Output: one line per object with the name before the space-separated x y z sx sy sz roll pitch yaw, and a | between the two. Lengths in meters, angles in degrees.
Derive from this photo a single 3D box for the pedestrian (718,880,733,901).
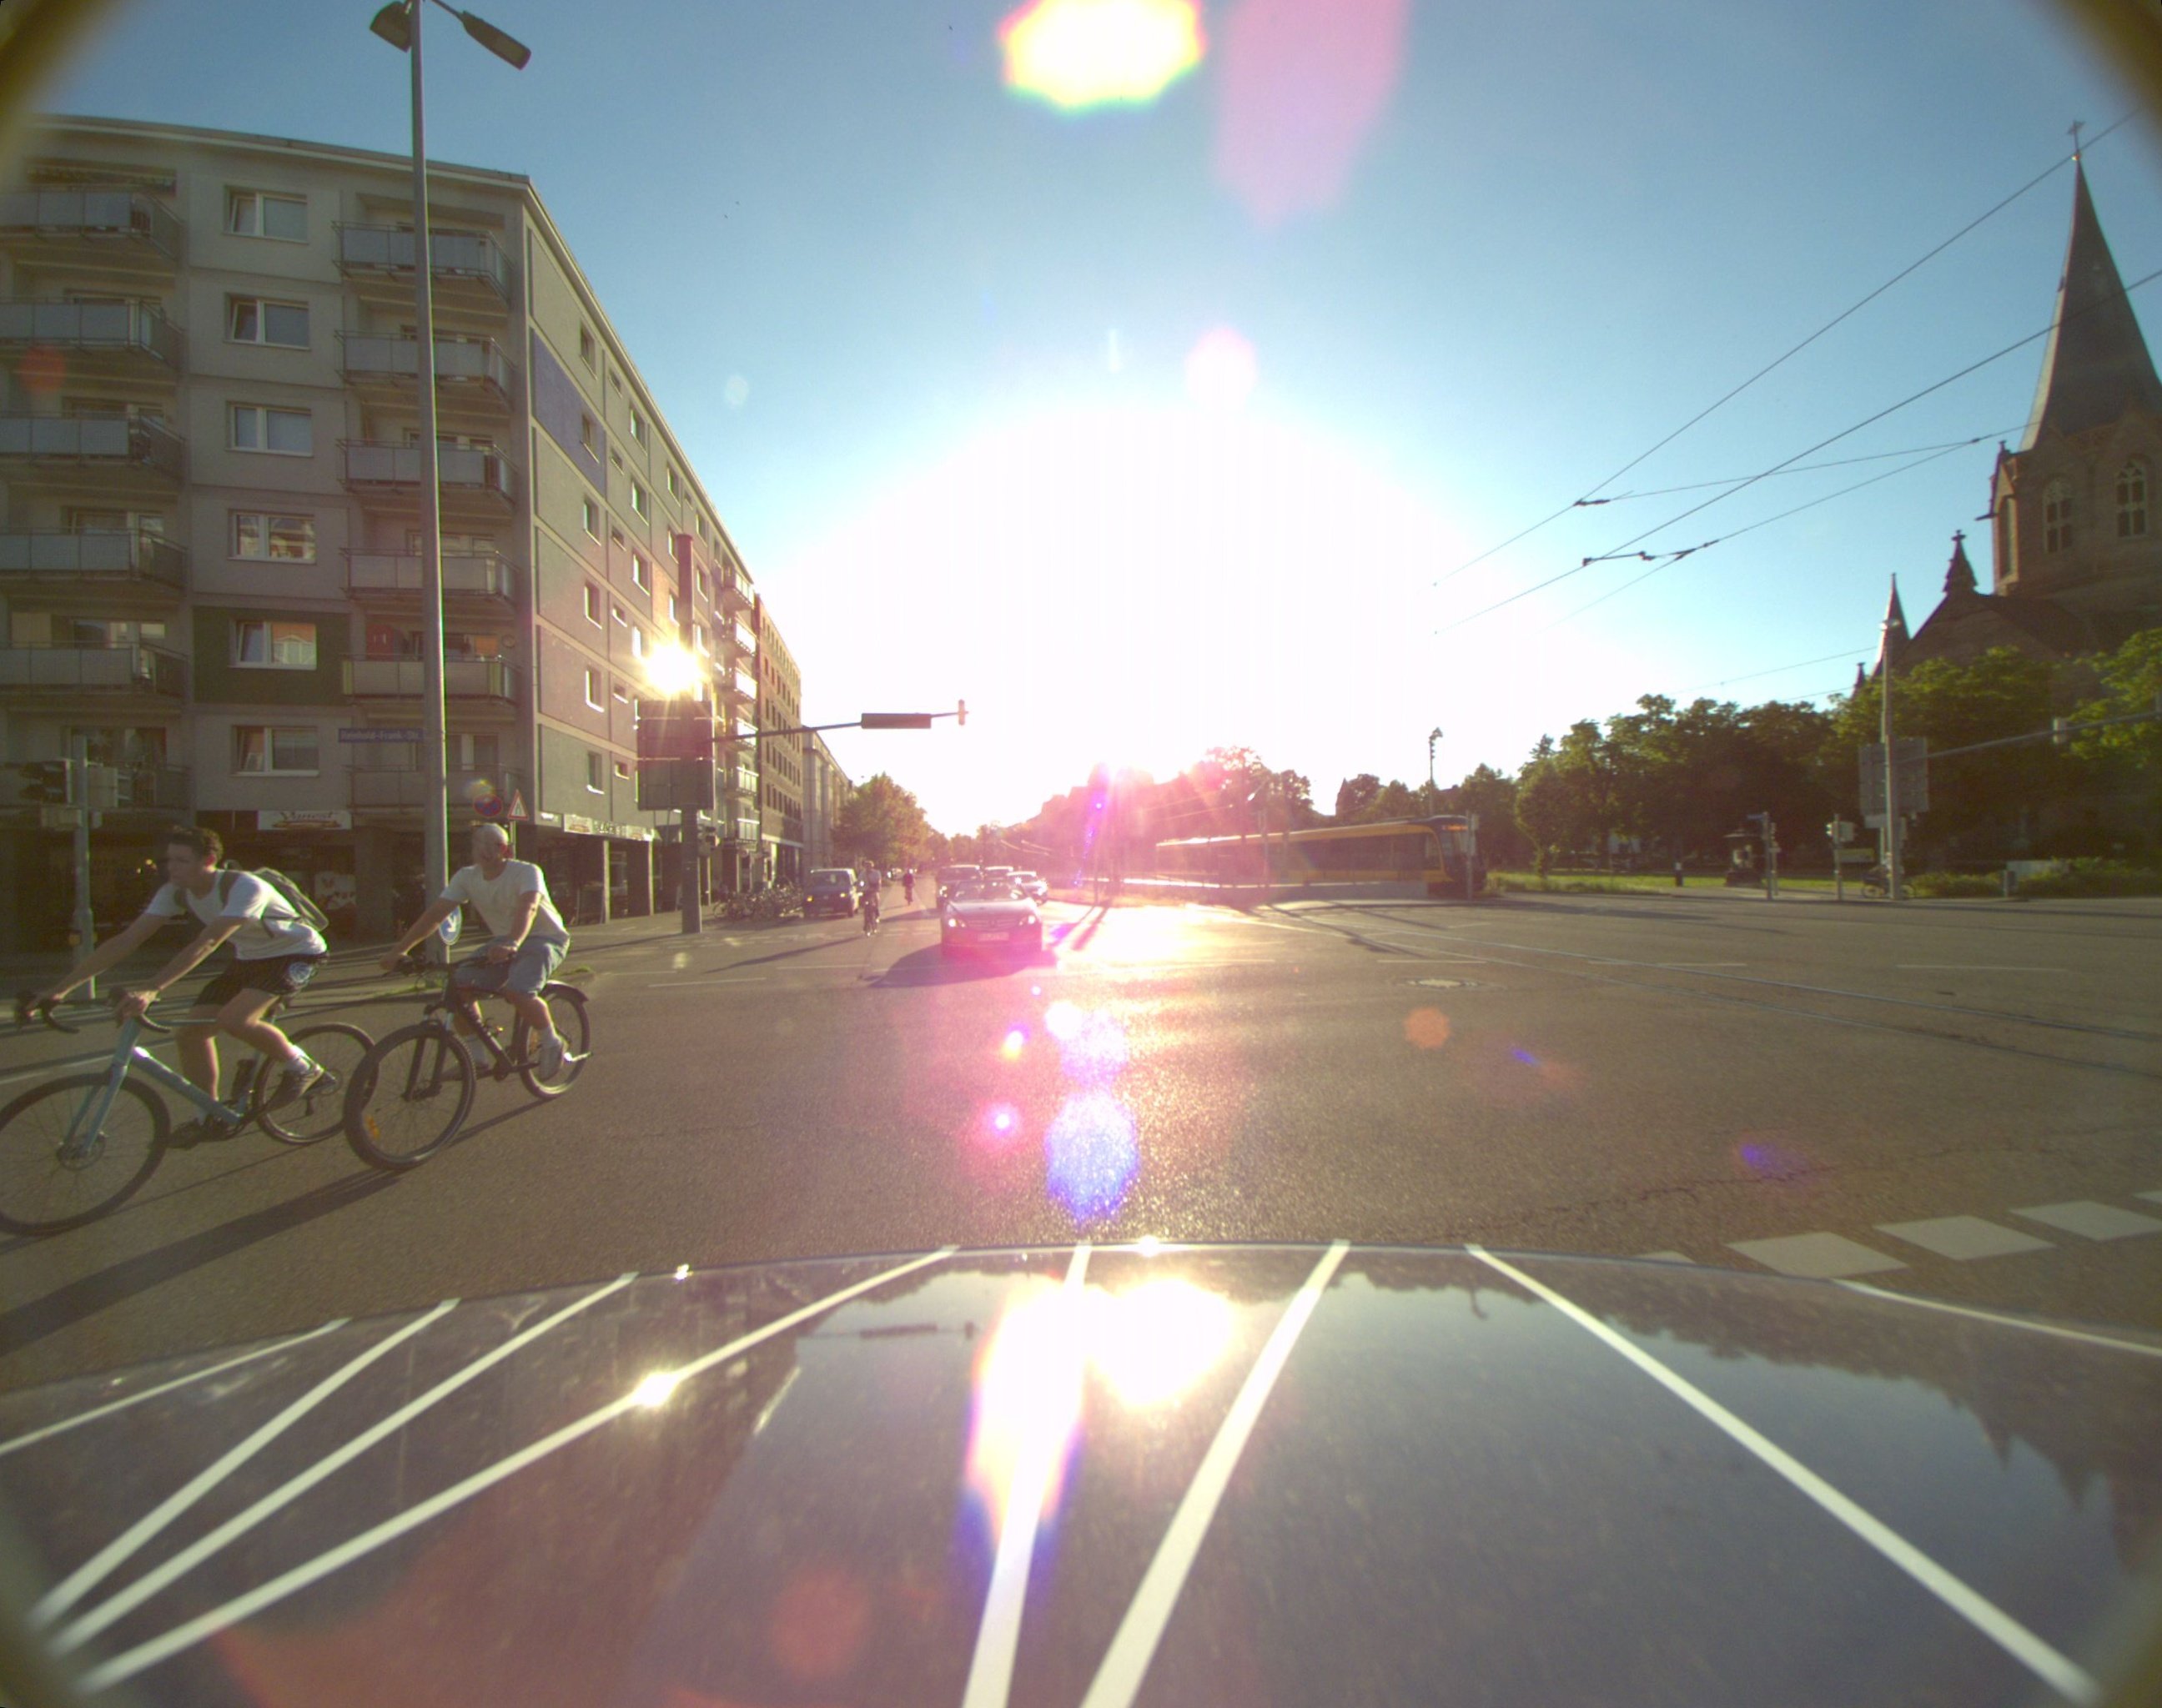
pedestrian | -20.747 2.128 44.373 0.606 1.145 0.727 -2 0 -13

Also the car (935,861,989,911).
car | -5.309 1.316 33.282 1.922 1.978 4.941 -2 0 -13

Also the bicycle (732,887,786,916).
bicycle | -12.652 1.876 29.935 1.875 1.119 0.567 1 -1 -16

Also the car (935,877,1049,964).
car | -1.876 1.164 14.794 1.778 1.300 4.236 -1 0 -12

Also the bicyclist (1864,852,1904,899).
bicyclist | 31.802 0.841 30.102 0.575 1.816 0.894 -3 0 -13

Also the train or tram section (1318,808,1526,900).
train or tram section | 14.863 0.050 34.614 2.783 3.515 10.559 -2 0 -13

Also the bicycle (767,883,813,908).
bicycle | -13.298 1.913 34.733 1.875 1.119 0.567 1 -1 -16

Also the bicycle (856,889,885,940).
bicycle | -5.294 1.502 19.201 0.530 1.152 1.847 -3 0 -11

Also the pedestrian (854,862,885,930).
pedestrian | -5.306 1.043 19.082 0.640 1.639 0.842 -3 0 -12

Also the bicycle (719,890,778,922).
bicycle | -12.059 1.865 27.597 1.874 1.055 0.606 -1 0 -15

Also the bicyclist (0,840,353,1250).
bicyclist | -4.539 0.850 3.859 0.675 1.797 0.994 -2 0 -1

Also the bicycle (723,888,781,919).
bicycle | -12.196 1.826 28.222 1.874 1.055 0.606 -1 0 -15

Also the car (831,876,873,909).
car | -11.611 1.906 38.721 1.689 1.471 3.536 -3 0 -12

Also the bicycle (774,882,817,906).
bicycle | -13.707 1.930 36.552 1.875 1.119 0.567 1 -1 -16

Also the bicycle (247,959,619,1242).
bicycle | -3.580 1.269 4.483 0.479 1.022 1.981 -3 0 -1

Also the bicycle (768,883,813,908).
bicycle | -13.459 1.909 35.287 1.875 1.119 0.567 1 -1 -16

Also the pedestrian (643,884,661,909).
pedestrian | -19.590 1.917 34.710 0.648 1.093 0.543 -2 0 -34

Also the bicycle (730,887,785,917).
bicycle | -12.482 1.866 29.384 1.875 1.119 0.567 1 -1 -16

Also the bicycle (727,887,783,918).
bicycle | -12.348 1.838 28.818 1.875 1.119 0.606 1 -1 -16

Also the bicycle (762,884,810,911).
bicycle | -12.836 1.884 33.077 1.875 1.119 0.567 1 -1 -16

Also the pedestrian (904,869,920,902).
pedestrian | -8.645 1.620 38.912 0.679 1.639 0.901 -3 0 -9

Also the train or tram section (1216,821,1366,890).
train or tram section | 12.191 0.155 46.229 2.783 3.515 13.237 -2 0 -13

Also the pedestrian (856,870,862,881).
pedestrian | -28.654 2.781 98.001 0.729 1.431 0.923 -2 0 -14

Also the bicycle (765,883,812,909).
bicycle | -13.148 1.884 34.178 1.875 1.119 0.567 1 -1 -16

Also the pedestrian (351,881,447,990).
pedestrian | -11.261 1.309 12.586 0.664 1.694 1.071 -1 0 -8

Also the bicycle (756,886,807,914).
bicycle | -12.366 1.909 31.417 1.875 1.119 0.567 1 -1 -16

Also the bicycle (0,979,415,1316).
bicycle | -4.519 1.308 3.880 0.577 1.022 1.856 -3 0 -1

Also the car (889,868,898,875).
car | -40.287 3.835 163.427 1.776 1.473 4.305 -1 -1 -12

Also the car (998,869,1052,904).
car | -2.710 1.483 35.713 1.844 1.392 4.579 -4 0 -12

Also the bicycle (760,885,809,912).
bicycle | -12.684 1.901 32.525 1.875 1.119 0.567 1 -1 -16

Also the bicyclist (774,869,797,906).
bicyclist | -14.572 1.636 37.541 0.744 1.797 1.385 -2 0 -10

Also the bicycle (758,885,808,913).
bicycle | -12.531 1.899 31.977 1.875 1.119 0.567 1 -1 -16

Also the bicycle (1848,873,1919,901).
bicycle | 31.811 1.290 30.166 0.525 1.020 1.928 -3 0 -13

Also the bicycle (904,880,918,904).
bicycle | -8.690 1.936 38.924 0.530 1.152 1.848 -3 0 -9

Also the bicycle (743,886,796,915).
bicycle | -12.557 1.874 30.664 1.875 1.119 0.567 1 -1 -16

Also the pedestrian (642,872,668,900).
pedestrian | -19.916 1.475 35.518 0.858 1.266 0.648 -2 0 25

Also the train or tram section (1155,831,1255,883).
train or tram section | 9.253 0.264 59.132 2.783 3.515 13.237 -2 0 -13

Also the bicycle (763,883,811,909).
bicycle | -12.995 1.871 33.626 1.875 1.119 0.567 1 -1 -16

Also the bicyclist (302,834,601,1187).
bicyclist | -3.582 0.811 4.453 0.828 1.797 1.057 -2 0 -1

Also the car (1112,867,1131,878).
car | 5.674 2.541 105.860 1.717 1.531 3.670 -1 0 -12

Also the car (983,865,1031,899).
car | -4.300 1.541 43.436 1.958 1.702 4.845 -4 0 -13

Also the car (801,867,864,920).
car | -10.042 1.530 31.001 1.943 1.922 4.827 -1 0 -13
